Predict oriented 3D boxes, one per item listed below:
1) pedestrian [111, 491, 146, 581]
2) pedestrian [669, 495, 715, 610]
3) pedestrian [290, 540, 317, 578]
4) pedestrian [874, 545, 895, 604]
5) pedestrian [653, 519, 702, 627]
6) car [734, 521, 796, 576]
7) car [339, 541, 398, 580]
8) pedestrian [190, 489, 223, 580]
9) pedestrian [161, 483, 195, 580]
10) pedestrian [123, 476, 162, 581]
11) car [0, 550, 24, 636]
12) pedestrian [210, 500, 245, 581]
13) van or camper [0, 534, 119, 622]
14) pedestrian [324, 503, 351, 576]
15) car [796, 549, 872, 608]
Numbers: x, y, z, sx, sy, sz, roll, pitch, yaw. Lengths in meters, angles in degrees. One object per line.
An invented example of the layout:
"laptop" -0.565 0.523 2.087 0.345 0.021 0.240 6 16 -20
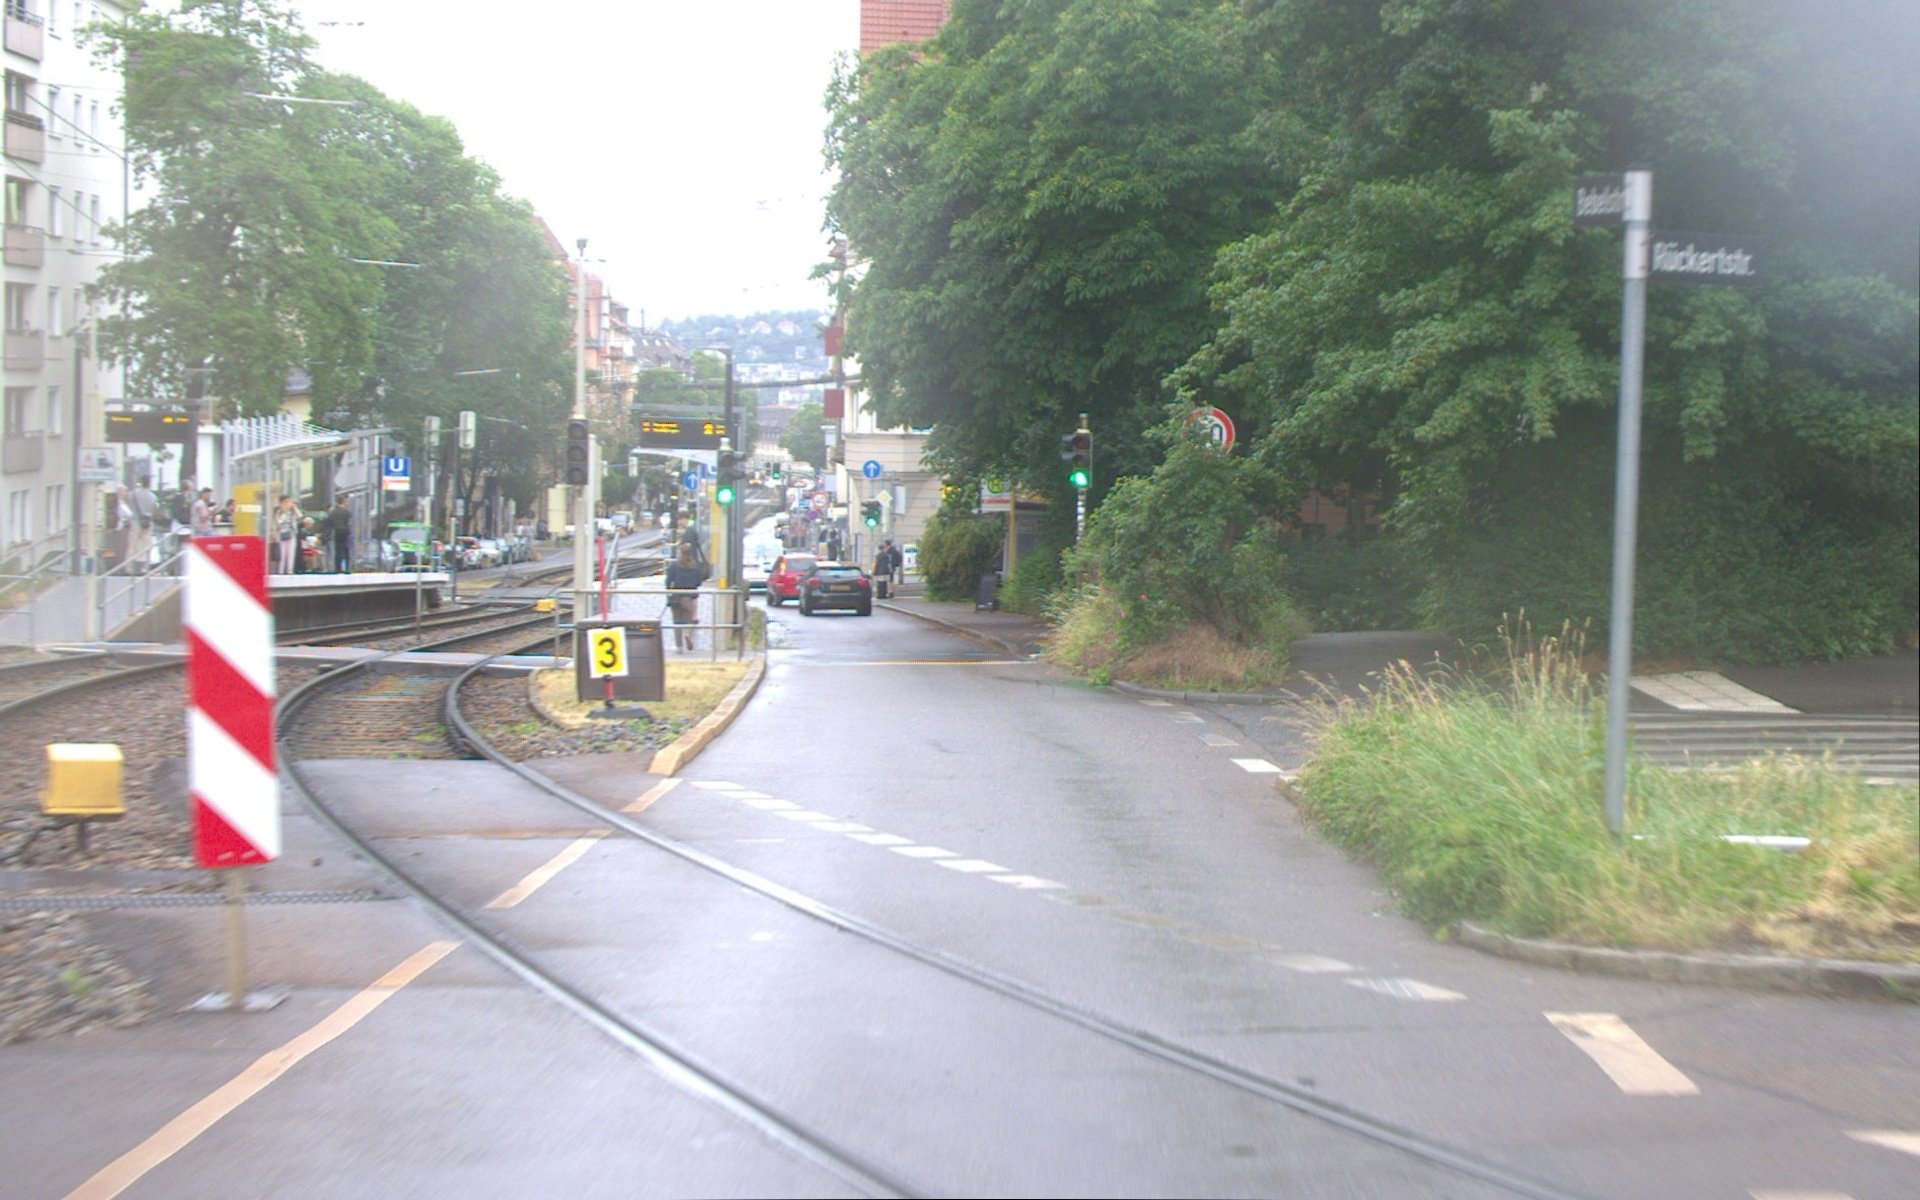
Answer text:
"pedestrian" -14.857 -1.135 61.423 0.516 1.599 0.563 0 0 -3
"pedestrian" -4.216 -0.748 54.134 0.650 1.778 0.848 1 0 -2
"pedestrian" -15.248 -0.957 79.864 0.550 0.869 0.614 0 0 -3
"pedestrian" -2.376 -0.802 107.760 0.553 1.807 0.651 2 0 -5
"pedestrian" -4.140 -0.398 50.388 0.650 1.557 0.684 1 0 -2
"car" -6.698 -1.738 117.651 1.948 1.787 4.145 2 0 -5
"car" -23.777 -1.602 138.341 1.726 1.510 4.496 1 1 -2
"pedestrian" -15.171 -1.314 69.258 0.516 1.831 0.762 0 0 -3
"pedestrian" -14.947 -1.303 65.723 0.516 1.831 0.762 0 0 -3
"pedestrian" -14.468 -1.256 60.864 0.561 1.843 0.599 0 0 -3
"car" -20.312 -0.152 68.612 1.993 1.726 4.814 0 0 0
"pedestrian" -15.295 -1.237 71.792 0.594 1.660 0.762 0 0 -3
"van or camper" -21.173 -0.546 80.875 1.993 2.007 4.001 0 1 -4
"pedestrian" -14.849 -1.449 82.034 0.550 1.735 0.614 0 0 -3
"car" -3.369 -0.585 91.514 1.851 1.468 4.001 1 1 -4
